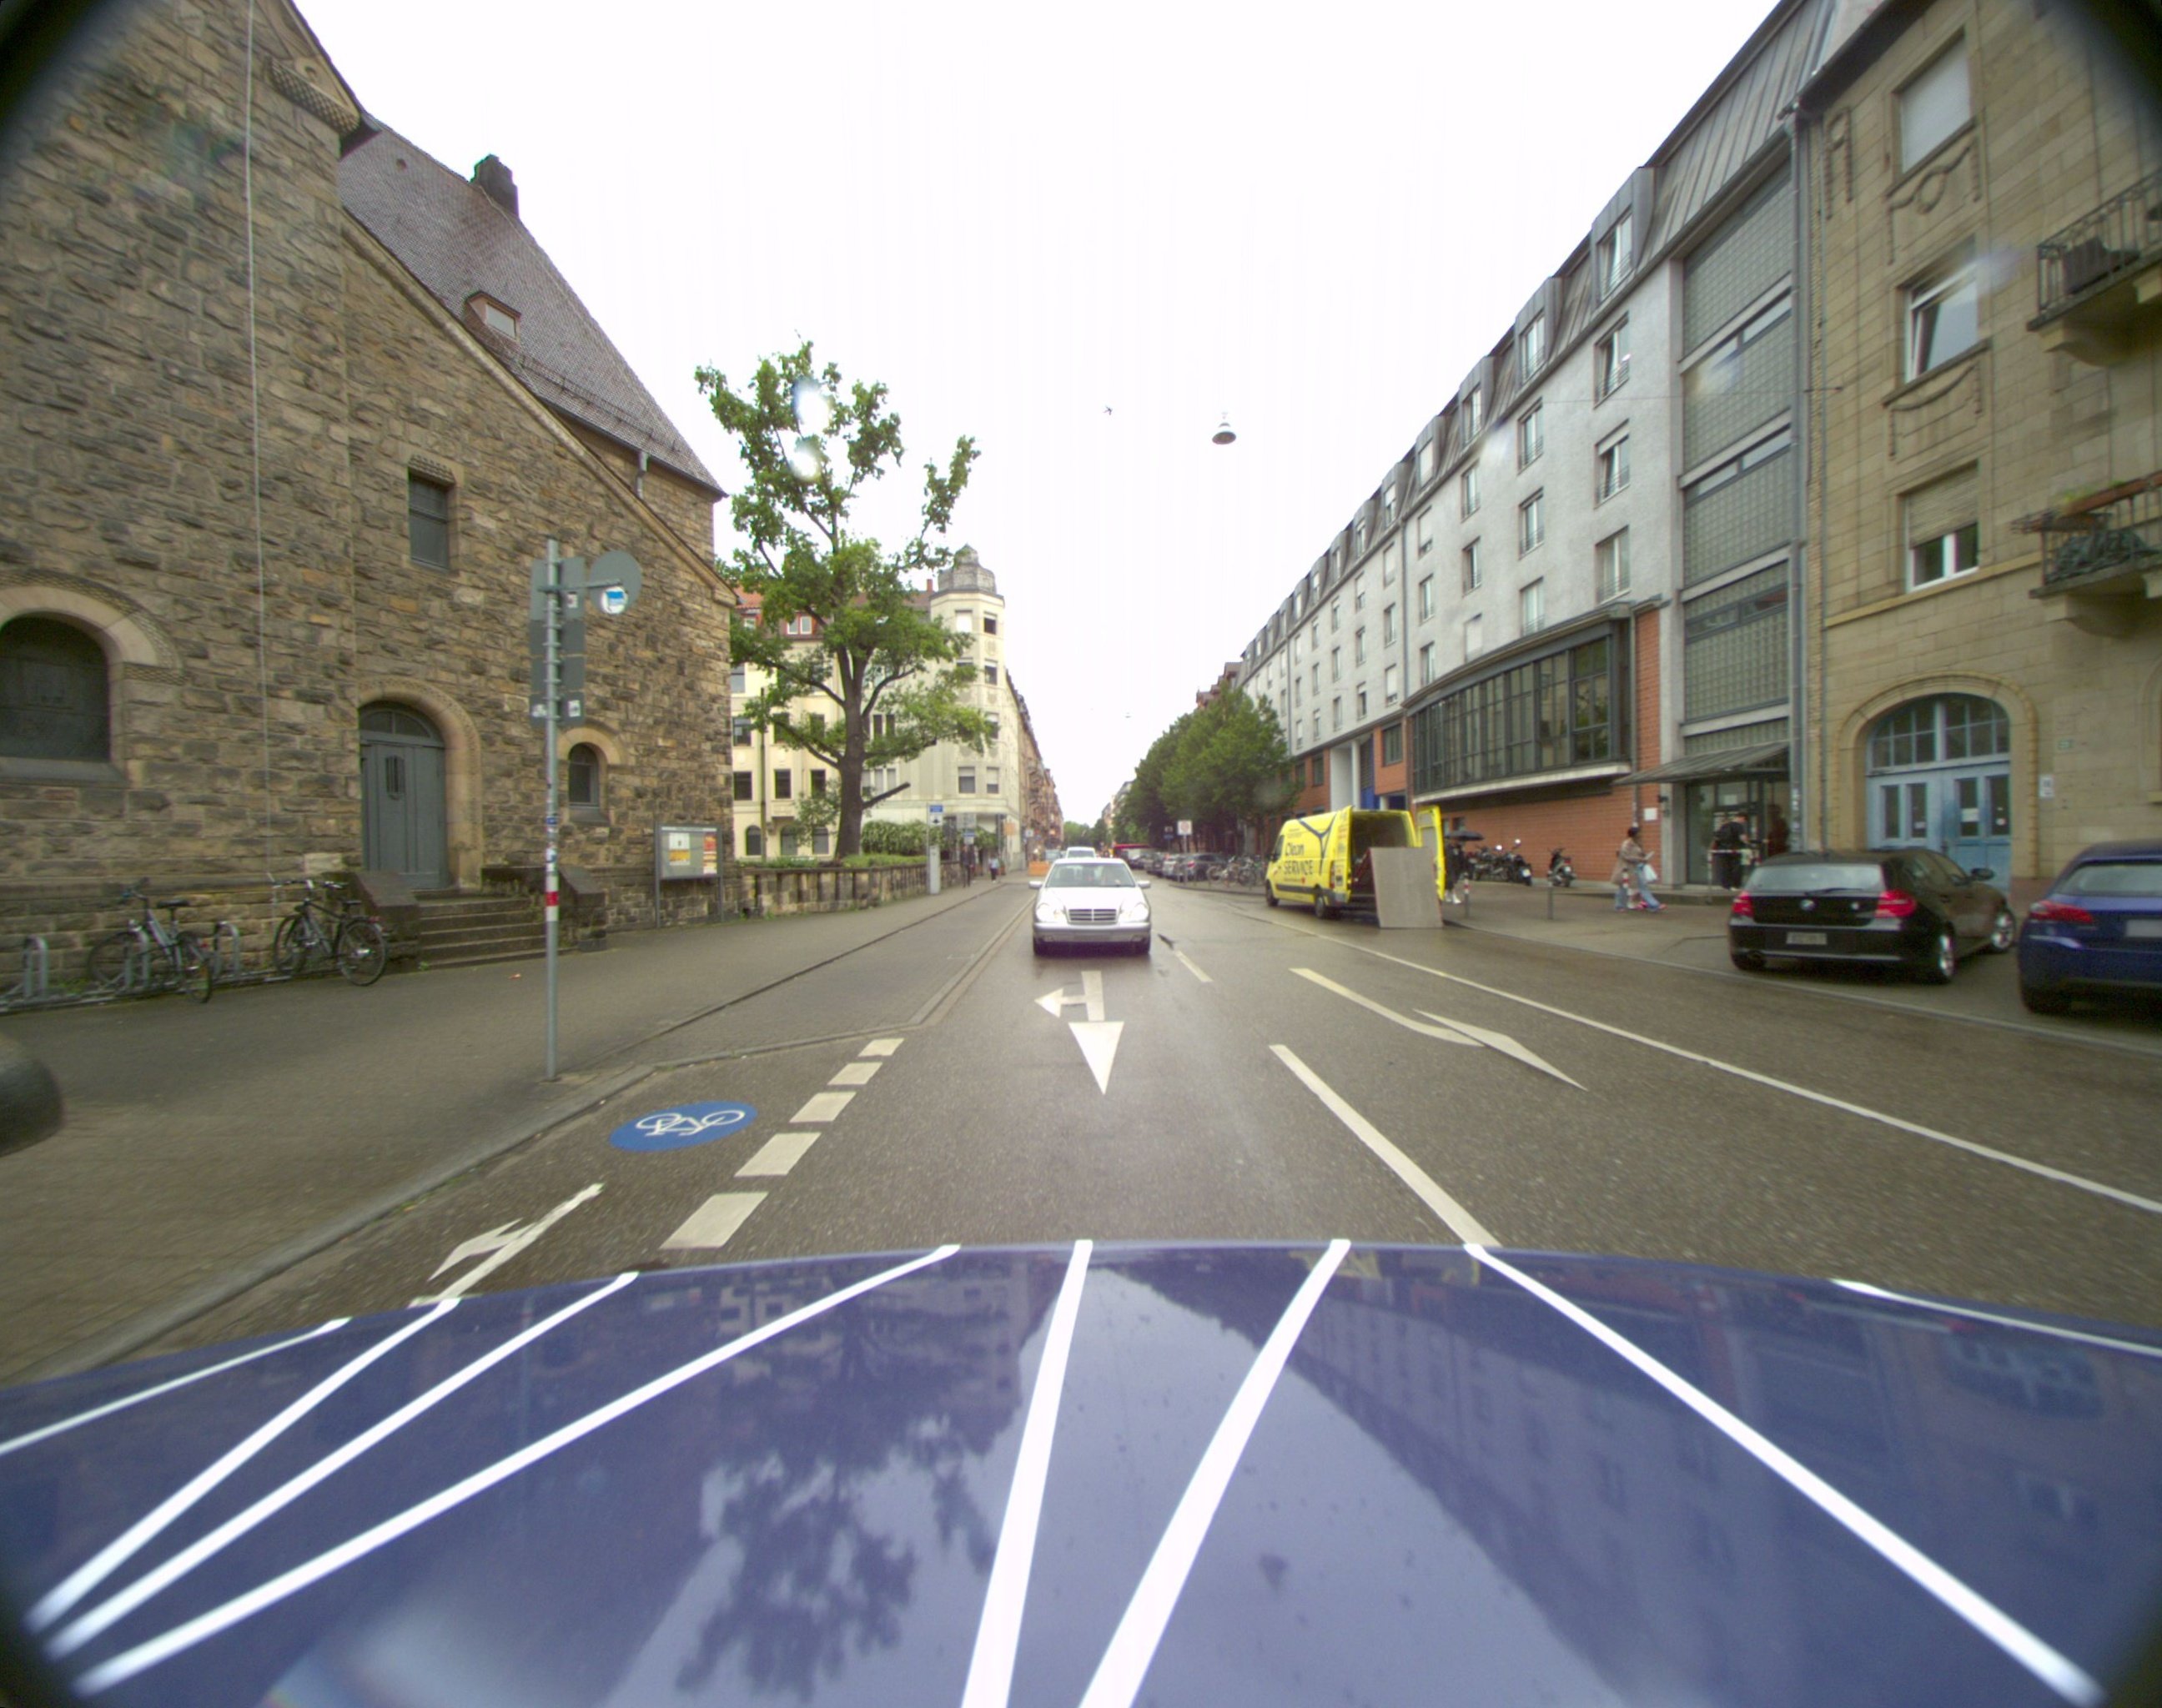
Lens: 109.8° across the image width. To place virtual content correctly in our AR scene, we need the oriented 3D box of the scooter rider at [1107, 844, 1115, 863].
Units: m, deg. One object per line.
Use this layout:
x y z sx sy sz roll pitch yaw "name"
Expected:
3.111 -0.052 78.761 0.712 1.924 0.503 0 1 -1 "scooter rider"

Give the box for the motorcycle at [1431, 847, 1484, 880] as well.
13.721 0.318 27.763 0.838 1.150 2.273 -2 0 2 "motorcycle"

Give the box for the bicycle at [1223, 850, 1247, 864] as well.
10.914 0.183 53.874 1.590 0.979 0.465 -1 1 -7 "bicycle"

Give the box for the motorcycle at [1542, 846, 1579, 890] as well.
13.608 0.385 21.596 0.524 1.174 1.760 -2 1 20 "motorcycle"

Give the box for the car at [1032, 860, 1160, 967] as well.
0.229 0.843 12.577 1.764 1.420 4.000 -1 1 1 "car"

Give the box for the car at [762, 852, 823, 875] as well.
-18.200 0.594 47.974 3.270 1.401 1.448 0 1 3 "car"

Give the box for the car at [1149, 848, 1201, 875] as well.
5.878 0.438 47.319 3.084 1.543 1.448 -2 1 -40 "car"

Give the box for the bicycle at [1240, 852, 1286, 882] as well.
7.744 0.555 32.371 1.815 1.187 0.519 -2 1 -13 "bicycle"

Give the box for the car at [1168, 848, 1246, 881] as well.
6.471 0.508 38.893 3.629 1.494 1.736 -2 2 -31 "car"

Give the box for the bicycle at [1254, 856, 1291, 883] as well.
7.954 0.641 31.514 1.461 1.096 0.462 -2 1 15 "bicycle"

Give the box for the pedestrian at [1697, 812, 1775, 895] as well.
13.956 -0.019 16.211 1.008 1.718 0.787 -1 1 -8 "pedestrian"

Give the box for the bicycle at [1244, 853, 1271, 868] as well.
11.120 0.406 47.898 1.590 0.979 0.445 -1 1 -7 "bicycle"

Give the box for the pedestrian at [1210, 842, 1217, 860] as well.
11.526 -0.248 66.092 0.571 1.588 0.533 -1 1 1 "pedestrian"

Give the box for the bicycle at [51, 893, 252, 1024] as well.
-9.020 0.975 7.379 1.711 1.105 0.562 1 2 15 "bicycle"

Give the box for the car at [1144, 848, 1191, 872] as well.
6.056 0.405 53.058 2.985 1.546 1.369 -2 1 -28 "car"

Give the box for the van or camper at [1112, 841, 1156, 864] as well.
6.055 -0.215 86.467 4.604 2.597 1.999 0 1 -26 "van or camper"

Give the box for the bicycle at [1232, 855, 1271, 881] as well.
7.669 0.617 34.262 1.610 1.099 0.520 -2 1 -4 "bicycle"

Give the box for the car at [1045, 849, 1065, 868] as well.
-2.430 0.389 71.435 1.726 1.794 3.462 0 0 0 "car"

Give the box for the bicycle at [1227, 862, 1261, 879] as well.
7.558 0.769 35.279 1.473 0.717 0.497 -2 1 3 "bicycle"

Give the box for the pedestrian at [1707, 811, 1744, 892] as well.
14.206 -0.060 16.771 0.474 1.738 0.607 0 1 26 "pedestrian"

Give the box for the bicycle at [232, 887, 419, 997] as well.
-8.305 0.931 8.359 1.987 1.048 0.513 1 2 15 "bicycle"

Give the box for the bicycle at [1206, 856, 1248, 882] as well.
6.681 0.673 34.801 1.812 1.099 0.472 -2 1 -4 "bicycle"

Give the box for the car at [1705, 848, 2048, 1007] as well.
9.522 0.702 9.065 4.050 1.503 1.794 -1 1 -28 "car"

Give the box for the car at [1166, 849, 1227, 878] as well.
6.375 0.504 41.821 3.083 1.494 1.449 -2 1 -31 "car"

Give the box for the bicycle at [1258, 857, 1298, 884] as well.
7.958 0.662 30.738 1.462 1.058 0.418 -2 1 4 "bicycle"

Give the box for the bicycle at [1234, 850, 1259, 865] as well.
11.245 0.222 51.597 1.590 0.979 0.465 -1 1 -7 "bicycle"

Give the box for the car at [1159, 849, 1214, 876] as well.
6.211 0.491 44.431 3.084 1.494 1.448 -2 1 -40 "car"

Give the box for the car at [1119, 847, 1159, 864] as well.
6.158 0.142 80.512 4.338 1.822 1.571 0 1 -40 "car"

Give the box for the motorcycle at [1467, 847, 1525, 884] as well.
13.859 0.355 25.452 0.651 1.150 2.205 -2 0 -1 "motorcycle"

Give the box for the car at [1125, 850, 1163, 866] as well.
6.080 0.372 72.769 1.685 1.482 3.799 1 1 41 "car"

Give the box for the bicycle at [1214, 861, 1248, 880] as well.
7.076 0.774 35.842 1.473 0.800 0.497 -2 1 3 "bicycle"

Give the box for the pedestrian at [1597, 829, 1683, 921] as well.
10.967 0.394 14.941 0.787 1.718 1.172 -2 1 -1 "pedestrian"

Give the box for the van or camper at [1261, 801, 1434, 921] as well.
6.475 0.137 19.408 2.202 2.596 5.940 0 0 -2 "van or camper"

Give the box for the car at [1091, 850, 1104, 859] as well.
2.335 0.109 108.350 1.651 1.301 3.311 0 0 -2 "car"

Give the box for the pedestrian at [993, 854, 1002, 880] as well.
-4.632 0.703 42.072 0.482 1.452 0.392 0 1 0 "pedestrian"

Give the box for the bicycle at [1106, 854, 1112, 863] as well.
2.708 0.408 73.763 0.536 0.879 1.780 -1 1 -1 "bicycle"

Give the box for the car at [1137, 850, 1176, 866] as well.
6.994 0.359 70.244 1.685 1.482 3.799 1 1 41 "car"

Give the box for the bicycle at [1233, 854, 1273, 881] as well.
7.606 0.589 33.558 1.611 1.099 0.519 -2 1 -13 "bicycle"

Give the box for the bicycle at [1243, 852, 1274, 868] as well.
11.059 0.355 47.399 1.851 0.979 0.445 -1 1 -7 "bicycle"

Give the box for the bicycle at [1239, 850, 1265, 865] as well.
11.350 0.243 50.431 1.590 0.979 0.445 -1 1 -7 "bicycle"

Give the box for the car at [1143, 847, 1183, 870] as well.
6.012 0.334 55.892 2.685 1.546 1.148 -2 1 -28 "car"

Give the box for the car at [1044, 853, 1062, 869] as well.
-2.391 0.578 66.518 1.447 1.348 3.204 0 0 0 "car"

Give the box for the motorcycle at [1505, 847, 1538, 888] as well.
13.472 0.382 23.280 0.524 1.174 2.007 -2 1 20 "motorcycle"

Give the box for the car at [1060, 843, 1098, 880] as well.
-0.069 0.382 42.939 1.998 2.002 4.000 -1 1 1 "car"

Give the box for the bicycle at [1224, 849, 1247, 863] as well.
11.371 0.140 55.900 1.590 0.979 0.465 -1 1 -7 "bicycle"

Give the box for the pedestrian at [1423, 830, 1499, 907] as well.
9.566 0.346 19.186 1.353 1.835 1.061 -2 1 0 "pedestrian"

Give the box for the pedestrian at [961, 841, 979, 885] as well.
-4.753 0.394 32.588 0.646 1.862 0.693 0 1 0 "pedestrian"

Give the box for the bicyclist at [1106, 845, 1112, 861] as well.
2.702 -0.117 73.760 0.536 1.521 1.134 -1 1 -1 "bicyclist"

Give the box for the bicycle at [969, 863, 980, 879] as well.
-6.681 1.076 47.640 0.390 0.888 2.023 0 3 0 "bicycle"

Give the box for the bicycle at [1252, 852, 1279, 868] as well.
11.750 0.395 48.437 1.590 0.979 0.445 -1 1 -7 "bicycle"

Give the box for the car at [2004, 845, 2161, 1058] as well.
9.902 0.714 6.486 4.050 1.564 1.794 -1 1 -28 "car"

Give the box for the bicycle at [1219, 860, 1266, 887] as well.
6.607 0.798 31.085 1.800 0.987 0.520 -2 1 -2 "bicycle"

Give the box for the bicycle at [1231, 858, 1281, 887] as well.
6.964 0.730 30.263 1.857 1.067 0.609 -2 1 6 "bicycle"

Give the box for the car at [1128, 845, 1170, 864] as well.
6.914 0.057 76.992 4.338 1.884 1.685 0 1 -40 "car"

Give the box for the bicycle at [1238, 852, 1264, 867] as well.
11.132 0.368 49.813 1.590 0.979 0.445 -1 1 -7 "bicycle"
